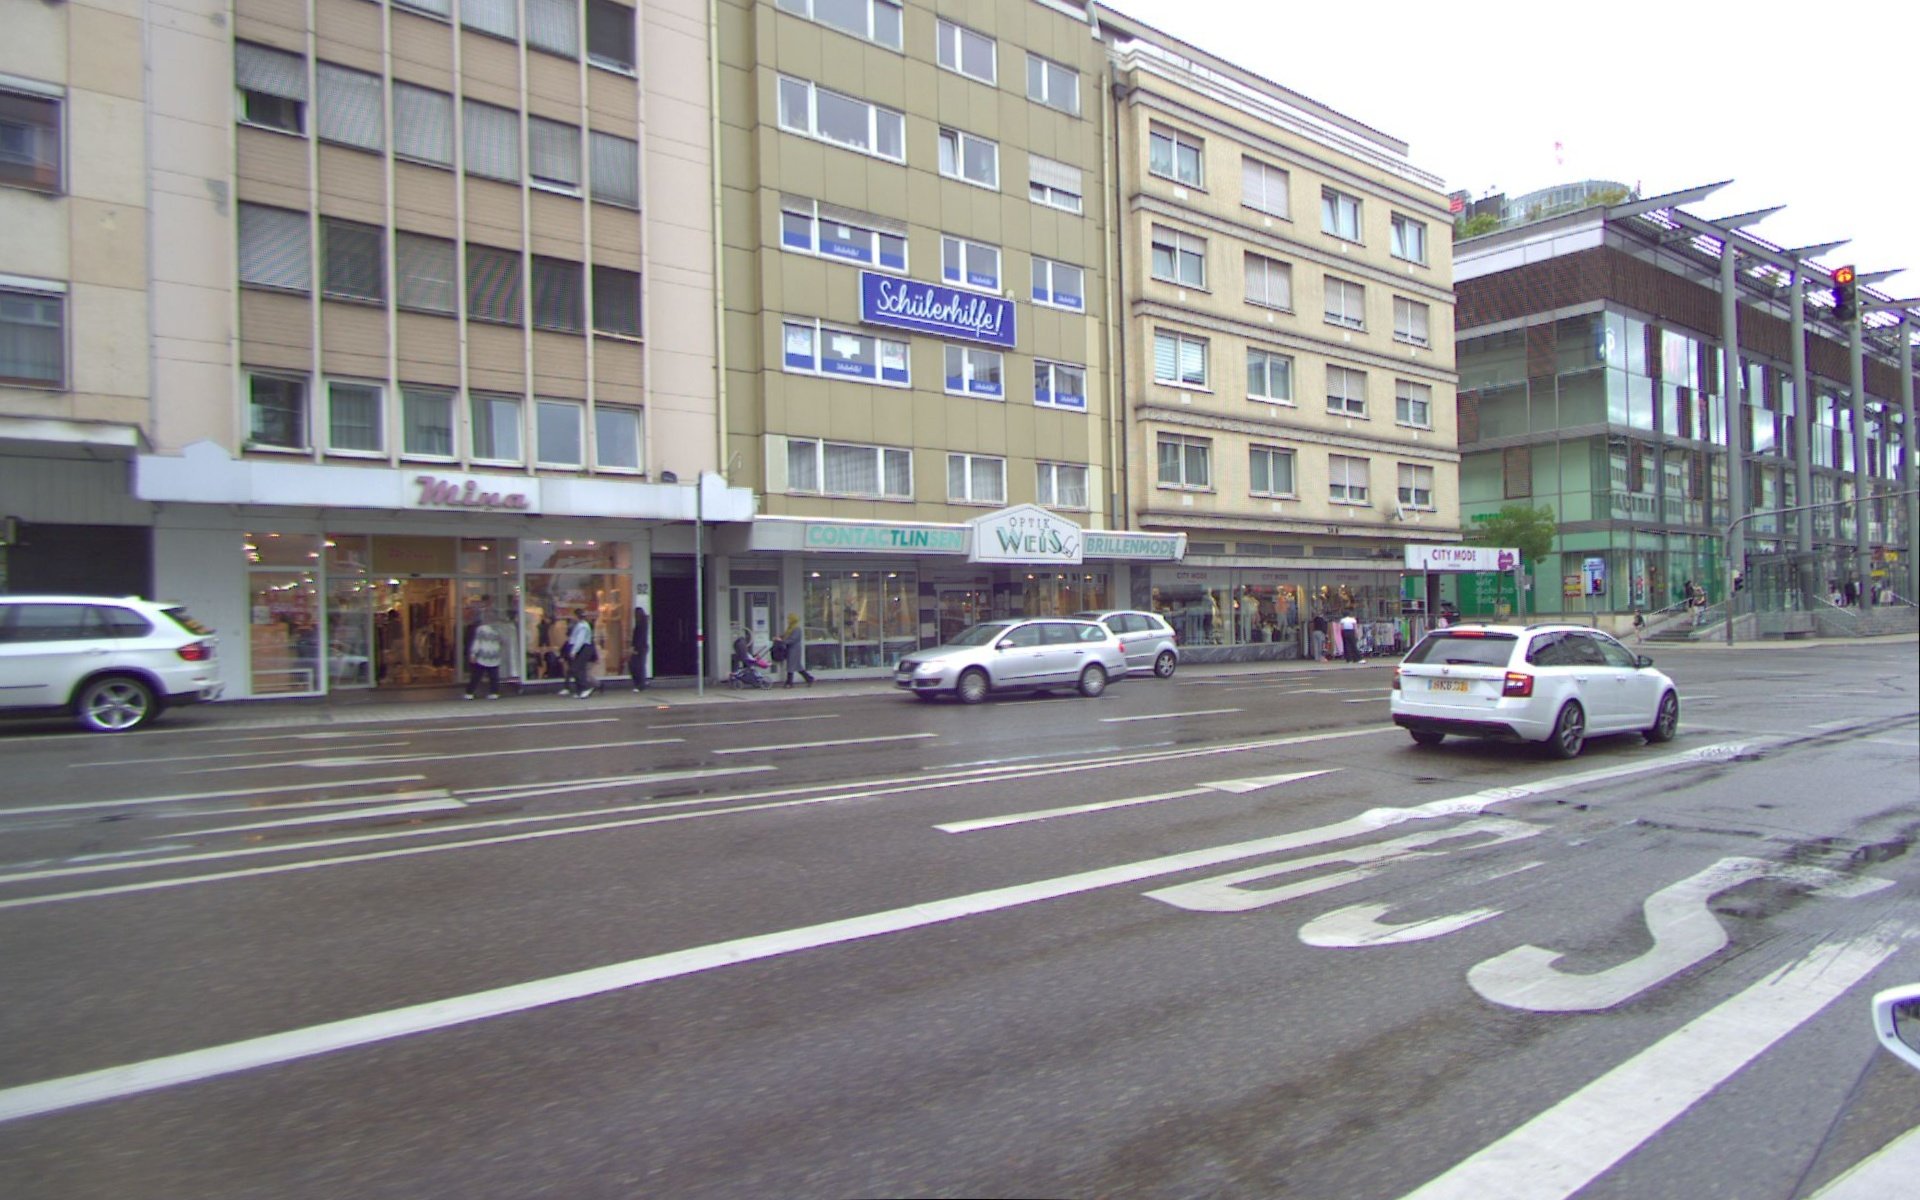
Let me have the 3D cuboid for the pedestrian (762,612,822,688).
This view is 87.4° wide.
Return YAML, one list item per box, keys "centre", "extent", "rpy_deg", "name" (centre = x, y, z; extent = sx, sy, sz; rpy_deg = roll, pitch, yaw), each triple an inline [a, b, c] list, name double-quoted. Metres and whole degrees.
- centre: [-3.483, 1.015, 20.877]
  extent: [1.055, 1.504, 0.662]
  rpy_deg: [-1, 1, -36]
  name: "pedestrian"

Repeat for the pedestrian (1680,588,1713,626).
- centre: [34.723, 0.337, 47.367]
  extent: [0.999, 1.735, 1.030]
  rpy_deg: [1, 0, -39]
  name: "pedestrian"

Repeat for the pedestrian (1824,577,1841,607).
- centre: [52.079, -0.474, 59.957]
  extent: [0.843, 1.735, 0.675]
  rpy_deg: [1, 0, -40]
  name: "pedestrian"

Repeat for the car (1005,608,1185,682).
- centre: [3.219, 0.992, 23.585]
  extent: [4.159, 1.584, 1.689]
  rpy_deg: [1, 0, -35]
  name: "car"

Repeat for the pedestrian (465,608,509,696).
- centre: [-8.736, 0.941, 18.560]
  extent: [0.637, 1.595, 0.606]
  rpy_deg: [1, -1, -35]
  name: "pedestrian"

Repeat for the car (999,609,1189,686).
- centre: [3.195, 1.044, 23.656]
  extent: [4.355, 1.571, 1.835]
  rpy_deg: [0, 2, -35]
  name: "car"

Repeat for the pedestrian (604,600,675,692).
- centre: [-6.295, 0.876, 19.722]
  extent: [1.076, 1.718, 0.945]
  rpy_deg: [-1, 1, -36]
  name: "pedestrian"

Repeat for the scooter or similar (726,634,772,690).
- centre: [-4.305, 1.255, 20.507]
  extent: [0.694, 1.068, 0.731]
  rpy_deg: [-1, 1, -35]
  name: "scooter or similar"

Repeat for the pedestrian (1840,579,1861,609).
- centre: [52.582, -0.357, 59.324]
  extent: [0.795, 1.735, 0.820]
  rpy_deg: [1, 0, -39]
  name: "pedestrian"

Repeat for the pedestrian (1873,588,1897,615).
- centre: [60.291, 0.104, 65.455]
  extent: [0.999, 1.735, 1.030]
  rpy_deg: [1, 0, -39]
  name: "pedestrian"

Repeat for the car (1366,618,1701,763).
- centre: [7.052, 0.949, 12.178]
  extent: [4.585, 1.434, 1.780]
  rpy_deg: [0, -1, -35]
  name: "car"

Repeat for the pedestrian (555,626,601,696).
- centre: [-7.335, 1.155, 19.278]
  extent: [0.714, 1.266, 0.531]
  rpy_deg: [-1, 1, -36]
  name: "pedestrian"

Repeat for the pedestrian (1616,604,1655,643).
- centre: [29.924, 1.029, 44.486]
  extent: [0.989, 1.735, 1.041]
  rpy_deg: [0, 0, -7]
  name: "pedestrian"

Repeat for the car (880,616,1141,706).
- centre: [0.998, 1.041, 18.622]
  extent: [4.701, 1.465, 1.776]
  rpy_deg: [1, 0, -32]
  name: "car"

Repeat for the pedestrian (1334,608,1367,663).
- centre: [12.055, 1.077, 31.027]
  extent: [0.828, 1.649, 0.775]
  rpy_deg: [1, 0, 13]
  name: "pedestrian"

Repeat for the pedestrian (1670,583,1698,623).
- centre: [36.818, 0.176, 51.051]
  extent: [0.965, 2.007, 0.875]
  rpy_deg: [1, 0, -34]
  name: "pedestrian"

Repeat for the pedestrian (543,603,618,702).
- centre: [-6.990, 0.931, 18.500]
  extent: [1.080, 1.737, 0.945]
  rpy_deg: [-1, 1, -36]
  name: "pedestrian"

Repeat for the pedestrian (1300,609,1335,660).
- centre: [11.327, 1.081, 31.844]
  extent: [0.675, 1.557, 0.779]
  rpy_deg: [0, 0, -36]
  name: "pedestrian"

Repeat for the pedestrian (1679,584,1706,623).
- centre: [37.615, 0.189, 51.572]
  extent: [0.841, 2.007, 0.869]
  rpy_deg: [1, 0, -34]
  name: "pedestrian"

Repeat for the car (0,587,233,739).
- centre: [-12.417, 0.773, 12.866]
  extent: [4.911, 1.851, 1.838]
  rpy_deg: [1, 0, -34]
  name: "car"

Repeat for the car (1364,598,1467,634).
- centre: [22.249, 0.751, 49.194]
  extent: [1.793, 1.567, 4.241]
  rpy_deg: [0, 1, -43]
  name: "car"
